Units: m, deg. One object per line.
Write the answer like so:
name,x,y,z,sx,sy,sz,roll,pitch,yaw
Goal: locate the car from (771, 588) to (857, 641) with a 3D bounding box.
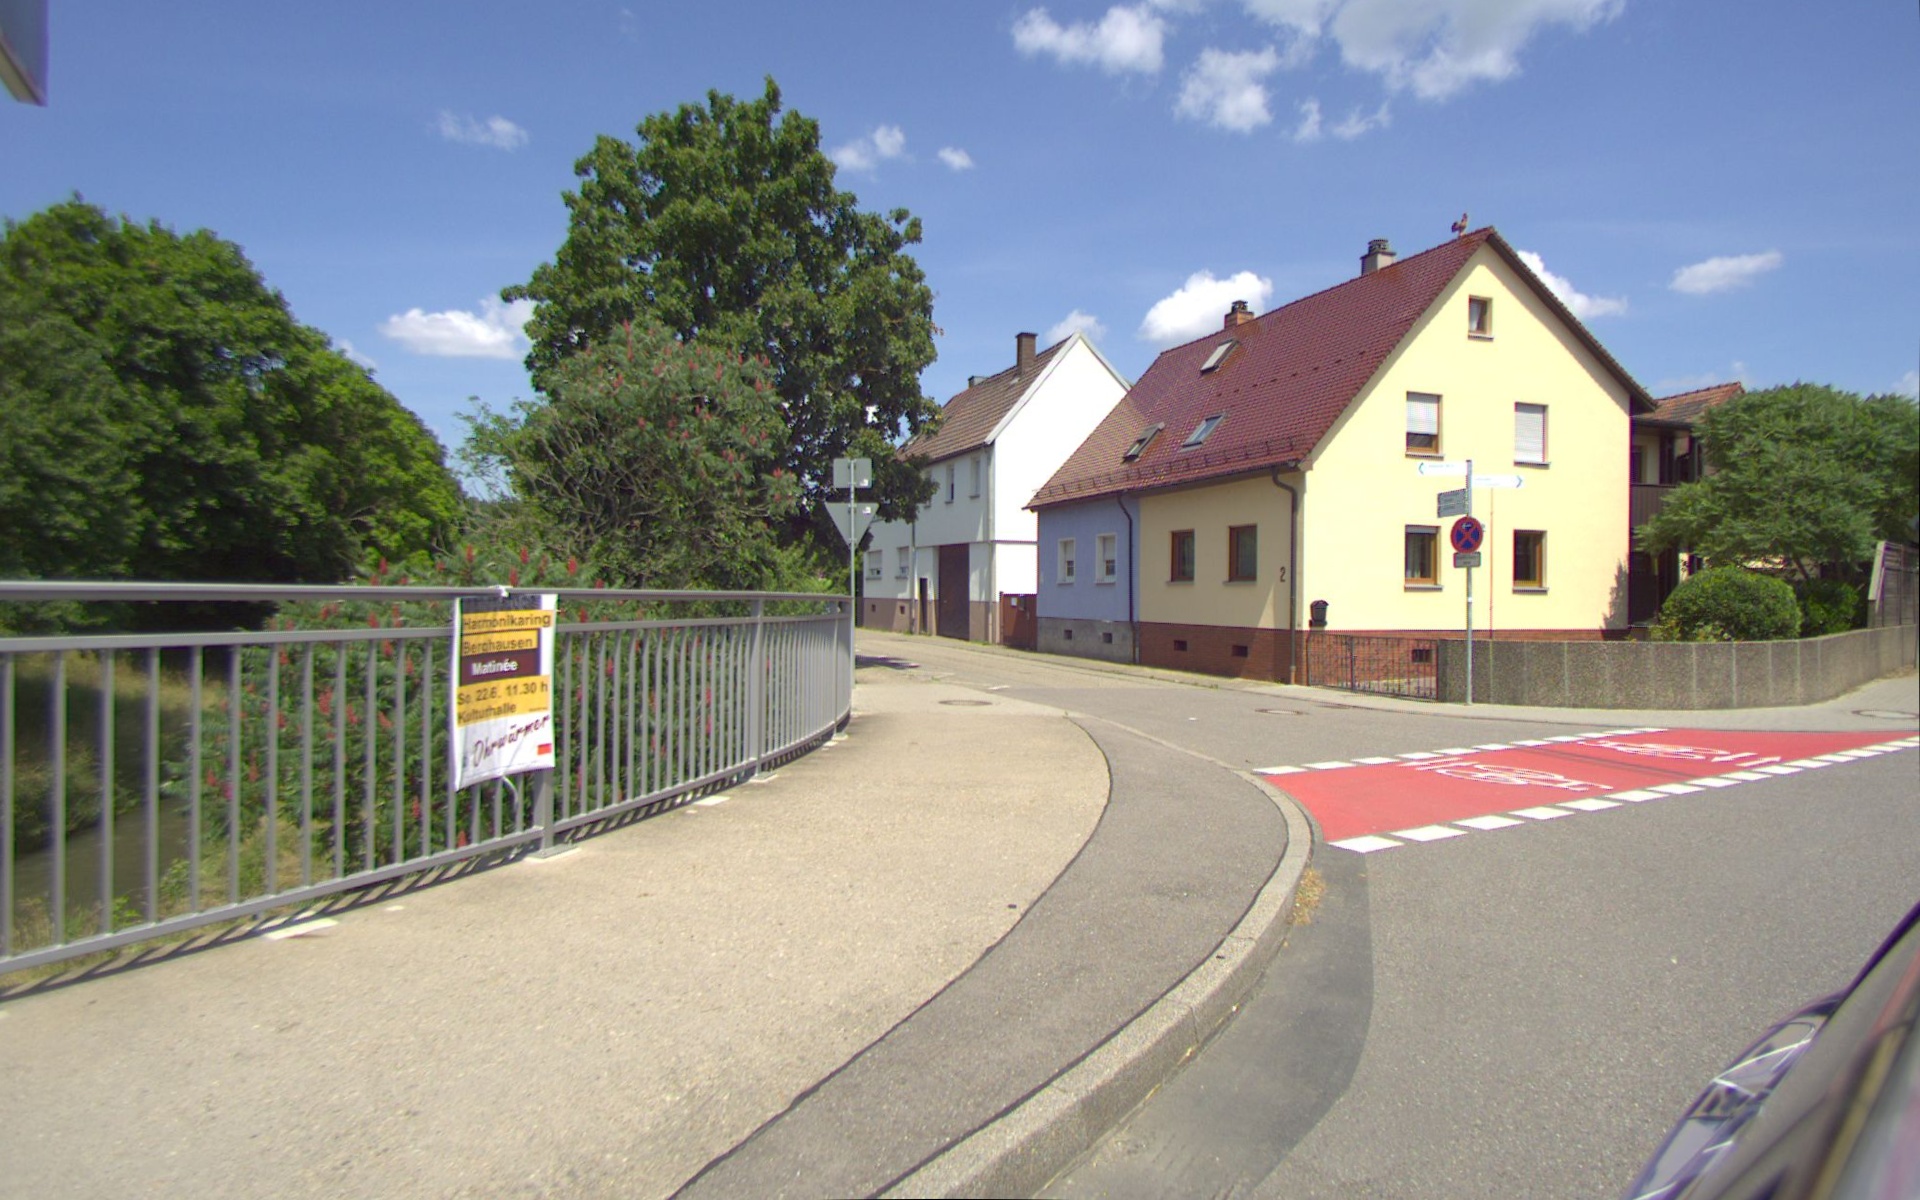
car,-5.086,0.449,34.884,1.787,1.718,4.267,0,0,-25
